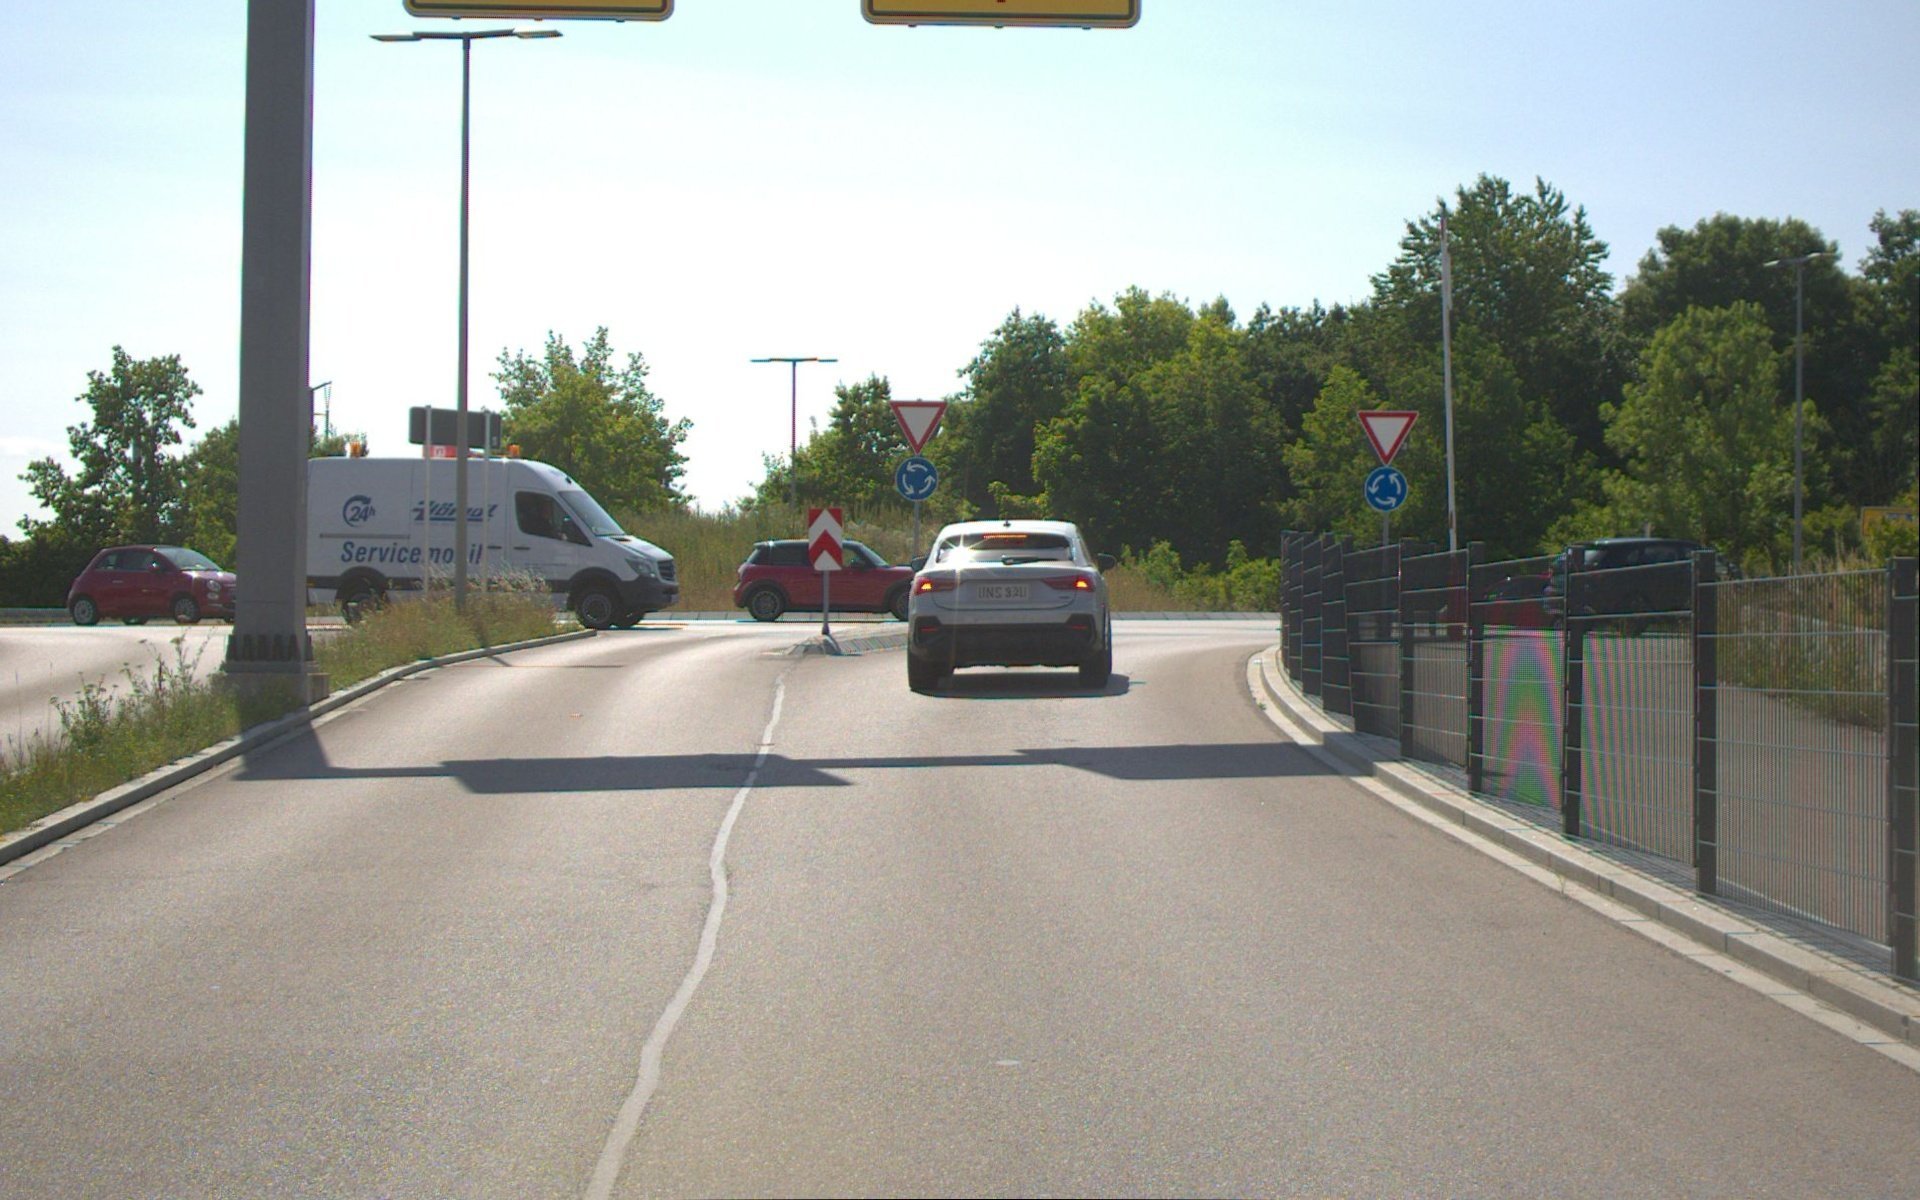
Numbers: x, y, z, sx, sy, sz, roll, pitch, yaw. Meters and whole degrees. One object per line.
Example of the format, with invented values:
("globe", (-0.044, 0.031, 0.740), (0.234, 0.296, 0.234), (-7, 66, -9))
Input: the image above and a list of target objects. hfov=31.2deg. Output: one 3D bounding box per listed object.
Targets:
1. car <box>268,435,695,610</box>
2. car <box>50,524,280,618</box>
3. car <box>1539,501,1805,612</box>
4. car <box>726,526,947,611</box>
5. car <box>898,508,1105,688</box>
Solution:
("car", (-7.385, -1.190, 53.270), (6.175, 2.545, 2.089), (1, 0, 10))
("car", (-14.585, -0.534, 63.069), (3.728, 1.612, 1.870), (1, 0, 25))
("car", (11.619, -0.707, 56.265), (3.844, 1.711, 2.000), (1, 0, -3))
("car", (-2.173, -0.551, 60.509), (3.804, 1.400, 1.626), (1, 0, -2))
("car", (0.410, -0.038, 32.850), (1.841, 1.590, 4.325), (0, 0, 1))
